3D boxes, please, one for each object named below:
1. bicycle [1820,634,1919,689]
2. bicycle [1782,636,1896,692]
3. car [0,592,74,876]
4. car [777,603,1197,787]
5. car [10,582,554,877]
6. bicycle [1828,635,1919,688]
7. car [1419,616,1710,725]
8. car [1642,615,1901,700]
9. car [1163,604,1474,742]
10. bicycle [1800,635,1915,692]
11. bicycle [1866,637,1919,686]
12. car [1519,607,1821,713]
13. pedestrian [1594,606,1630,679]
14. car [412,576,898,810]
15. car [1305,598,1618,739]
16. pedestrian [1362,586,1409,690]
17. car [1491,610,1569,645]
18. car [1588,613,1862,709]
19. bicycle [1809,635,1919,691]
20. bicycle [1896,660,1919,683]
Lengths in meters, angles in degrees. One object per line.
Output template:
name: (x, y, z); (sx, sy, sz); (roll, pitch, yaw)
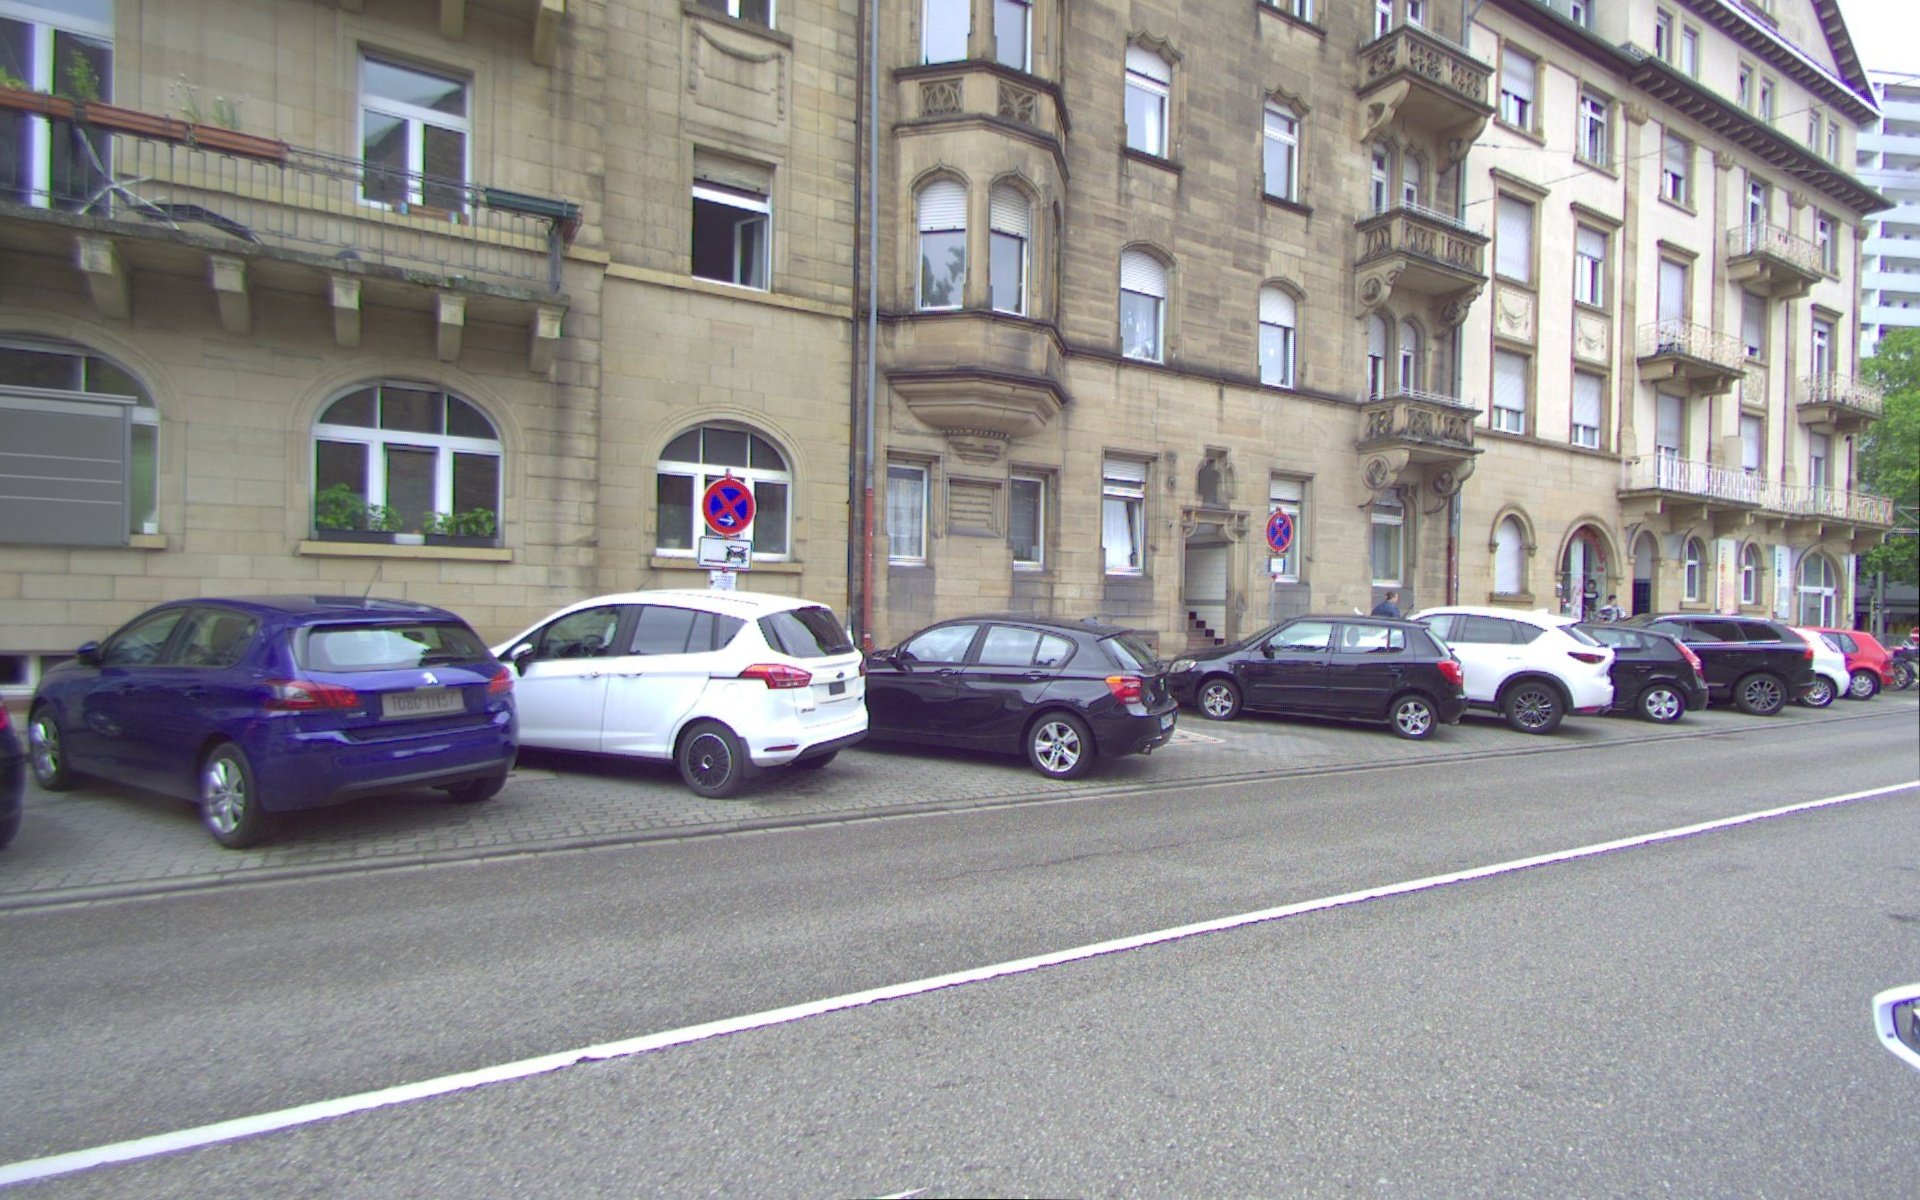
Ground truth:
bicycle: (21.980, 1.455, 24.143); (0.437, 1.050, 1.876); (1, 5, -31)
bicycle: (20.239, 1.449, 23.180); (0.436, 1.050, 1.879); (1, 4, -26)
car: (-7.032, 0.637, 5.721); (3.927, 1.457, 1.730); (3, 2, 28)
car: (0.256, 0.833, 10.278); (3.924, 1.436, 1.660); (3, 0, 25)
car: (-4.913, 0.691, 7.213); (3.682, 1.465, 1.820); (3, 2, 30)
bicycle: (22.503, 1.487, 24.495); (0.437, 1.050, 1.876); (1, 5, -31)
car: (9.896, 1.093, 16.817); (3.923, 1.514, 1.731); (2, 0, 23)
car: (17.231, 1.184, 21.531); (3.919, 1.492, 1.684); (2, 2, 12)
car: (4.820, 0.913, 13.748); (3.738, 1.517, 1.569); (3, 1, 22)
bicycle: (20.976, 1.468, 23.512); (0.437, 1.050, 1.876); (1, 5, -31)
bicycle: (23.239, 1.537, 24.279); (0.437, 1.050, 1.876); (1, 5, -31)
car: (12.788, 1.028, 18.408); (4.141, 1.674, 1.732); (2, 0, 18)
pedestrian: (16.311, 1.050, 25.138); (0.544, 1.809, 0.564); (1, 0, -29)
car: (-2.718, 0.666, 8.958); (3.922, 1.575, 1.702); (3, 2, 22)
car: (7.458, 0.912, 15.061); (3.935, 1.746, 1.835); (2, 0, 36)
pedestrian: (8.284, 0.738, 19.563); (0.544, 1.984, 0.616); (1, 0, -29)
car: (15.039, 0.732, 26.505); (1.991, 0.845, 0.909); (2, 0, -31)
car: (14.905, 1.140, 19.824); (3.920, 1.492, 1.564); (3, 2, 18)
bicycle: (21.426, 1.462, 23.794); (0.437, 1.050, 1.876); (1, 5, -31)
bicycle: (24.275, 1.862, 24.516); (1.017, 0.451, 1.876); (0, 6, -31)
